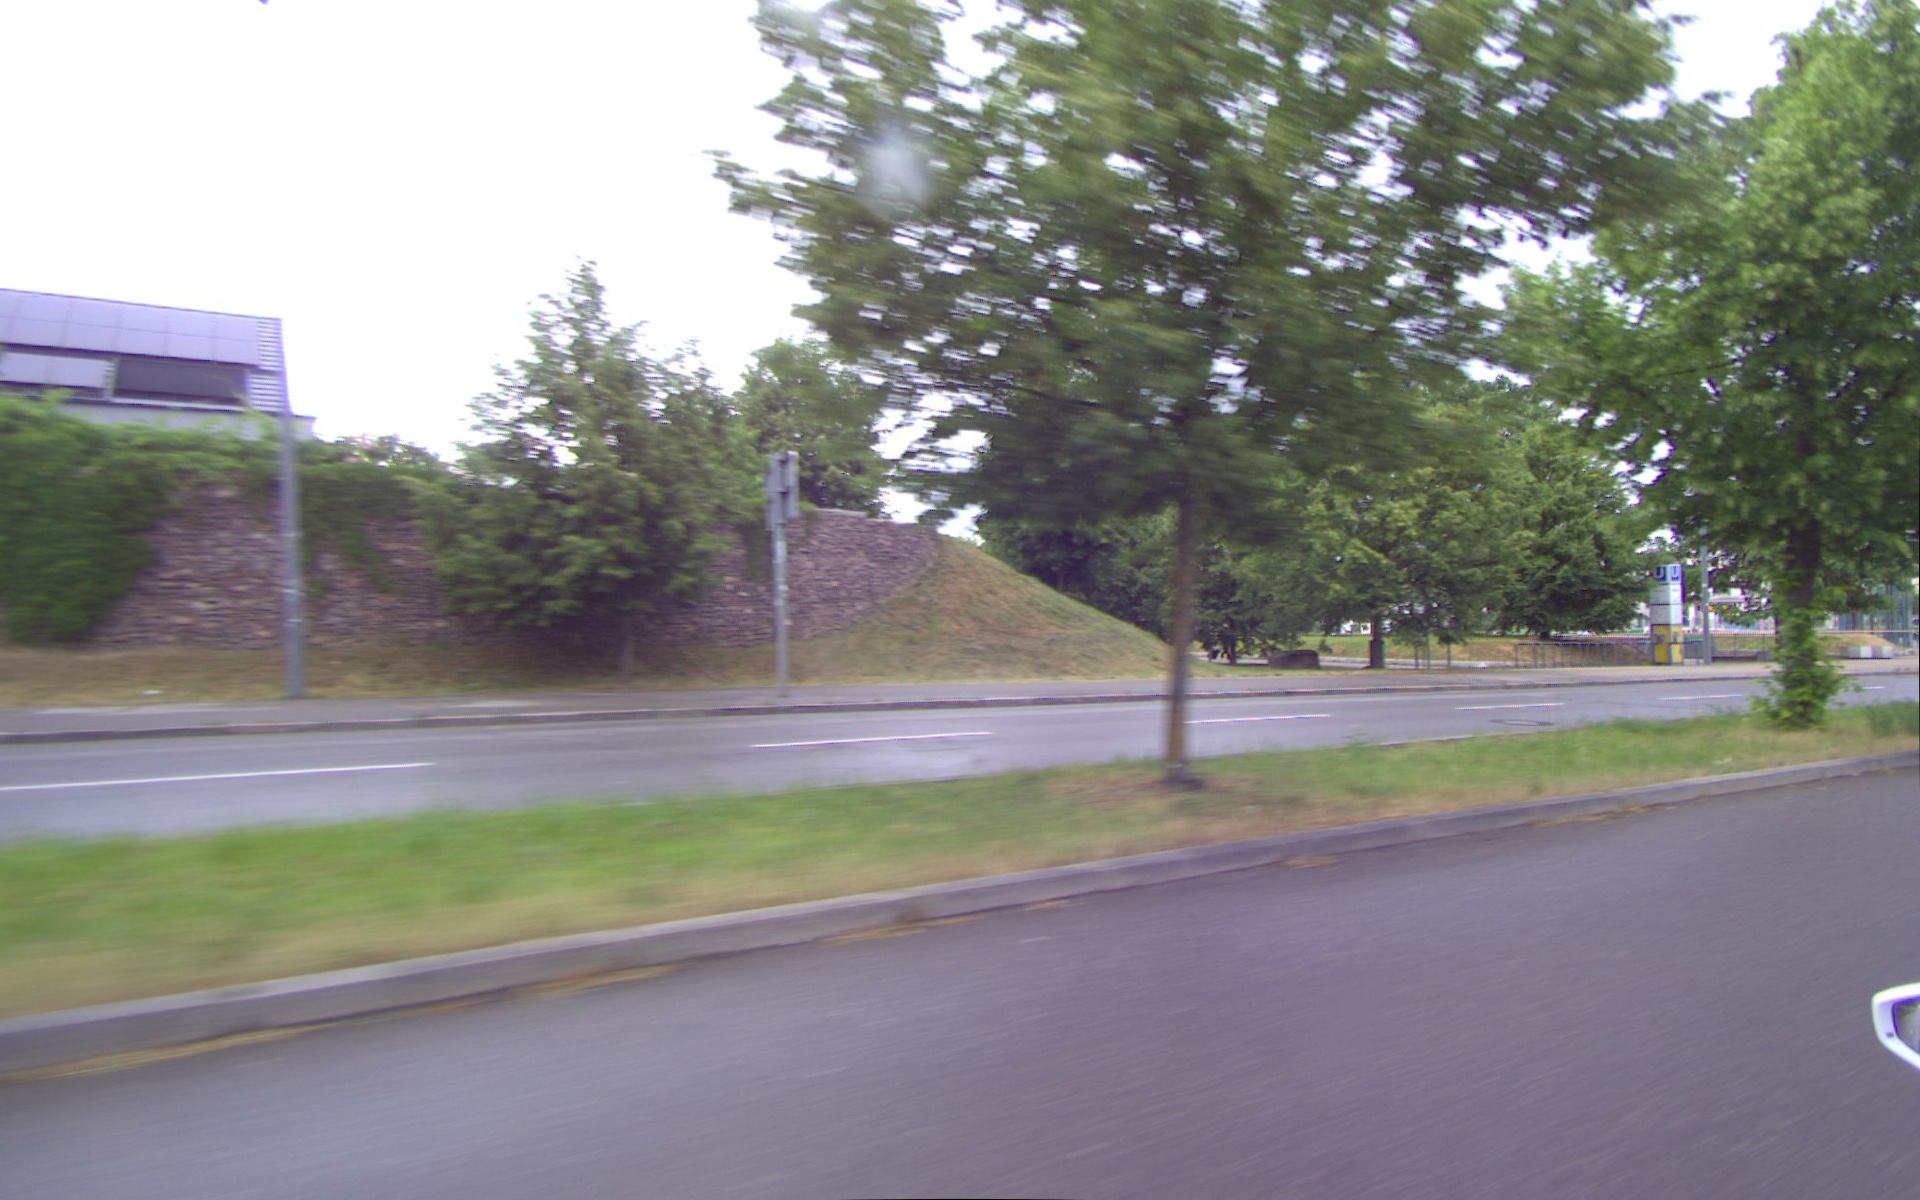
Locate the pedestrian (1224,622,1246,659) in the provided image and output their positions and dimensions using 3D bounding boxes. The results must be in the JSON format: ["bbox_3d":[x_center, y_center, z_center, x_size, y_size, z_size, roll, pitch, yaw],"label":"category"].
[{"bbox_3d":[12.994,1.908,47.525,0.745,1.751,0.644,2,-1,-22],"label":"pedestrian"}]
